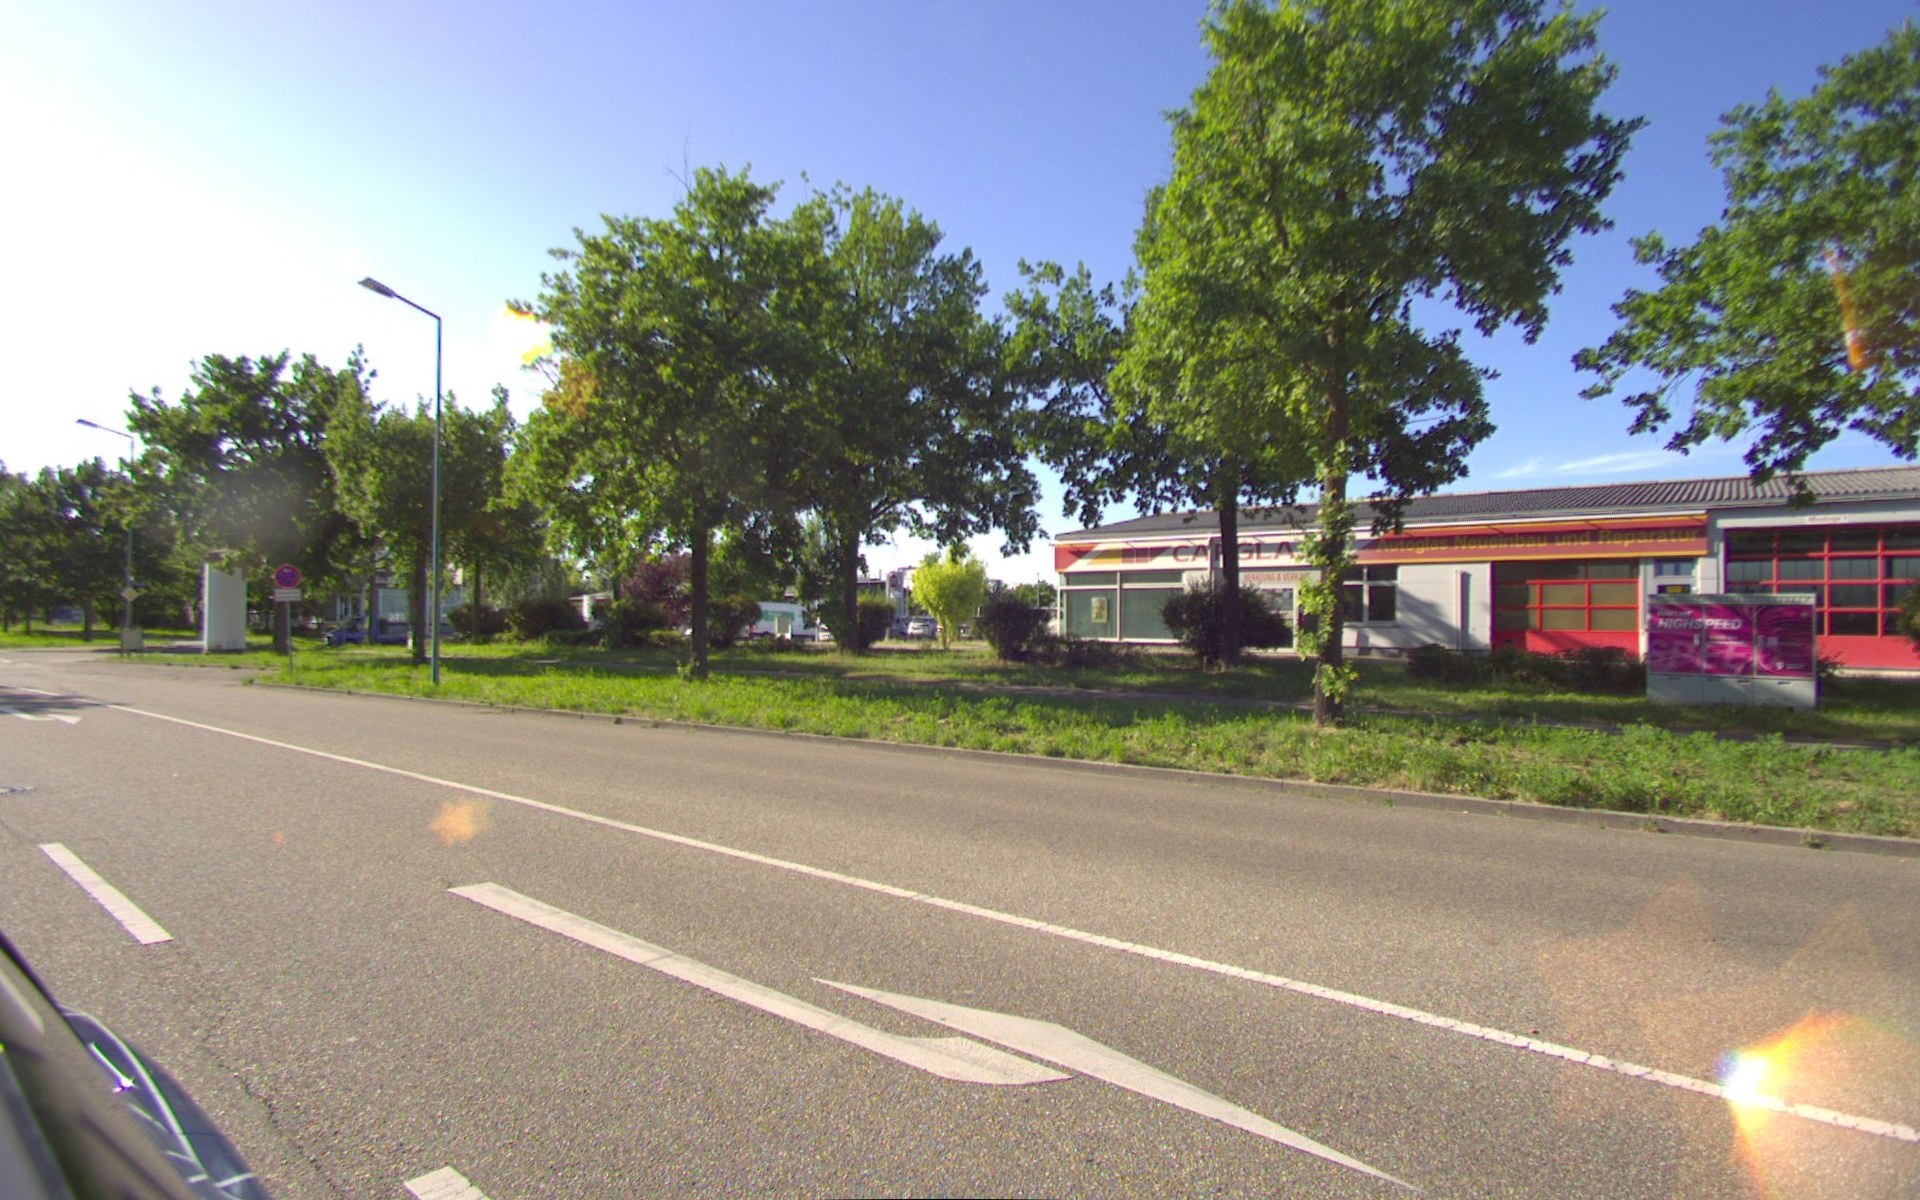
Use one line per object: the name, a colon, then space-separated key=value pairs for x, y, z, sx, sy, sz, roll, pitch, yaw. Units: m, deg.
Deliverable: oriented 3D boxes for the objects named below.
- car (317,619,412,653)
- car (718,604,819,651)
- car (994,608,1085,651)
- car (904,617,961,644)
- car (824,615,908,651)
car: x=-35.962 y=2.149 z=61.229 sx=1.999 sy=1.847 sz=4.578 roll=-1 pitch=0 yaw=41
car: x=-11.443 y=1.590 z=60.994 sx=2.406 sy=2.574 sz=5.952 roll=-1 pitch=0 yaw=36
car: x=3.221 y=1.149 z=40.597 sx=1.734 sy=1.583 sz=3.769 roll=-3 pitch=-1 yaw=40
car: x=-1.862 y=2.041 z=68.616 sx=1.761 sy=1.684 sz=3.811 roll=-1 pitch=0 yaw=40
car: x=-5.137 y=1.760 z=55.782 sx=1.989 sy=1.795 sz=4.583 roll=-1 pitch=0 yaw=40
